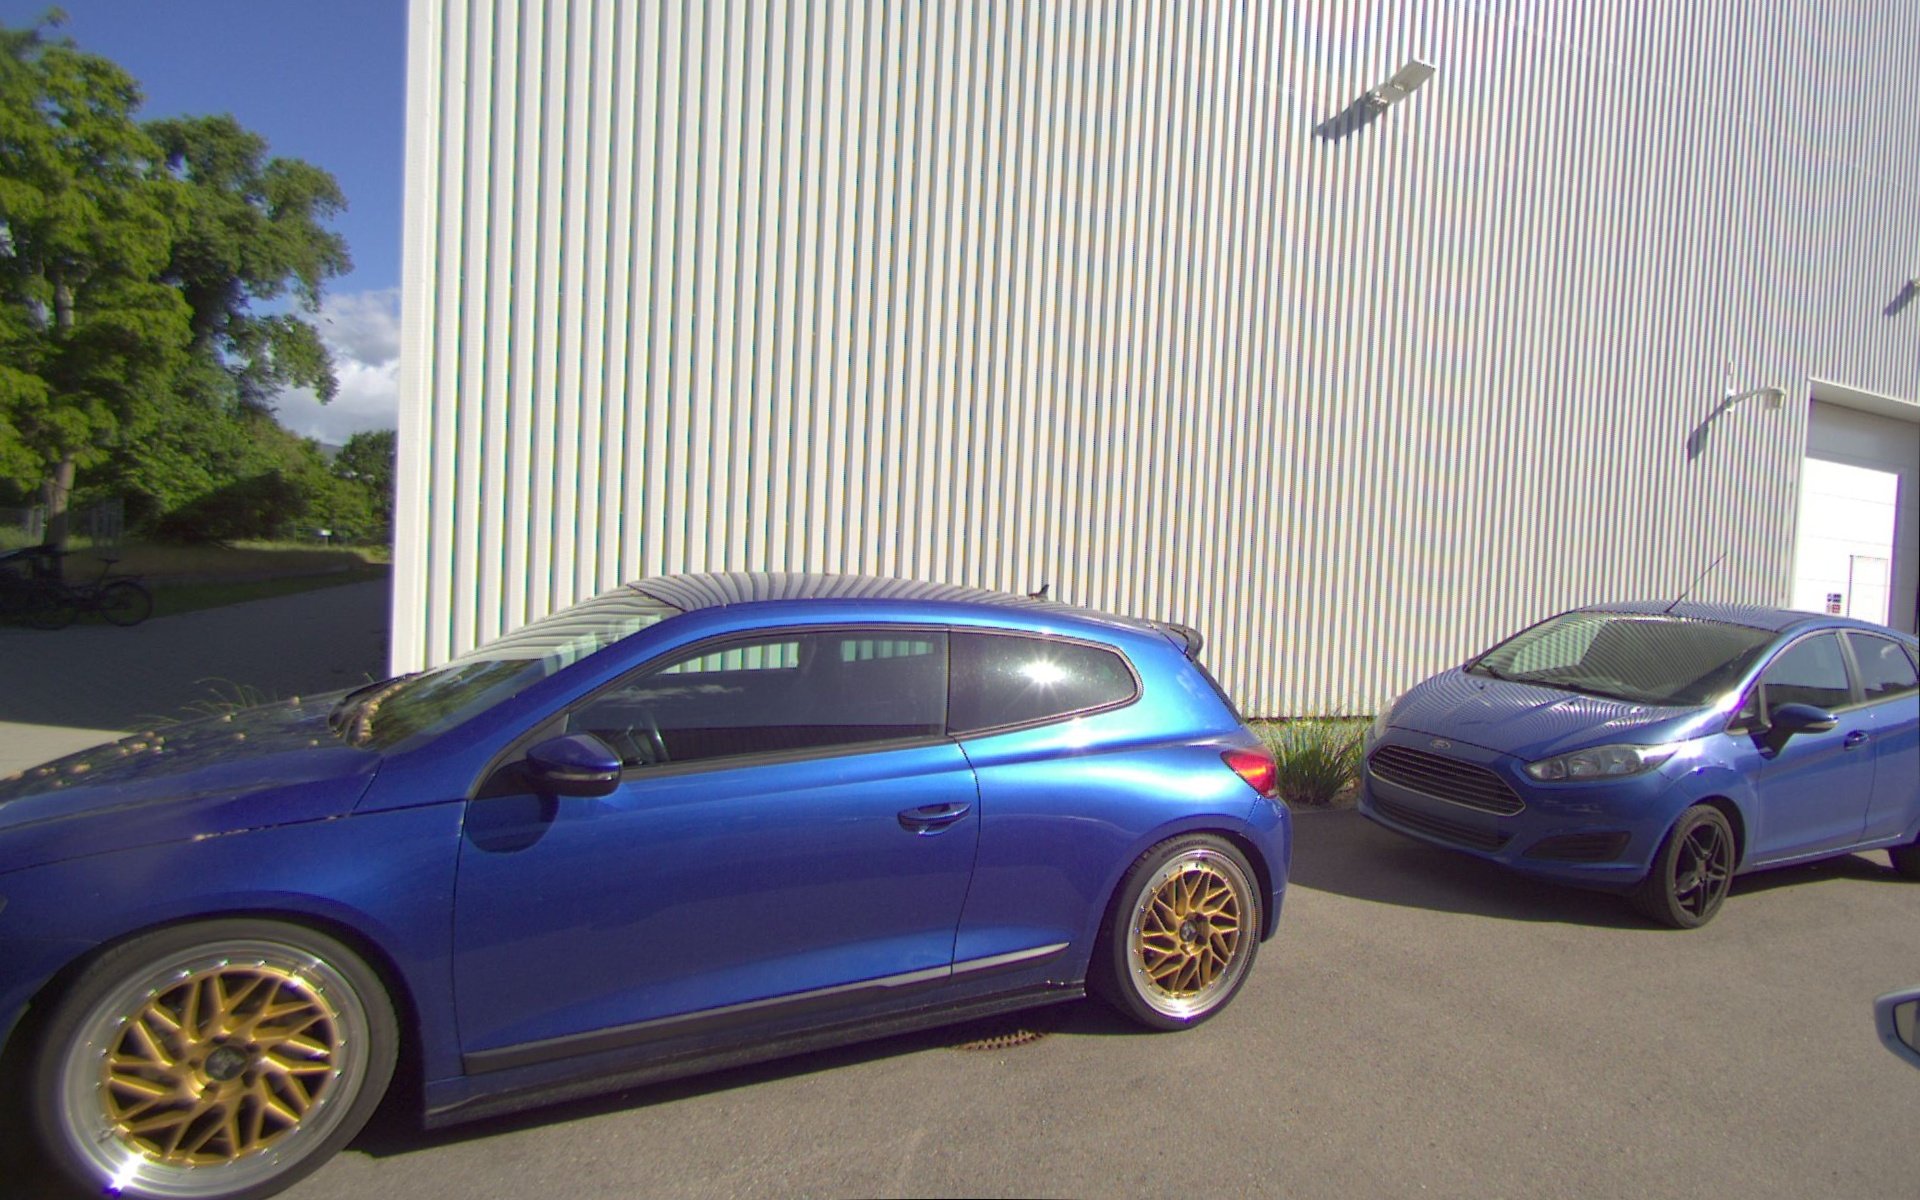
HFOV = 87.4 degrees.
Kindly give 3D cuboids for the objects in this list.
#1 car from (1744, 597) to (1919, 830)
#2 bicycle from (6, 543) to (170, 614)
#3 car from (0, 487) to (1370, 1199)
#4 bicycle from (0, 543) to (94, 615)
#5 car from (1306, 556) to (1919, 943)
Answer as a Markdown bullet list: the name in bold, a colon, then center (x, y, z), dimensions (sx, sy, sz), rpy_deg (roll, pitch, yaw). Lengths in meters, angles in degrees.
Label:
- **car**: center (8.431, 0.880, 7.897), dimensions (4.236, 1.520, 1.749), rpy_deg (2, 3, -25)
- **bicycle**: center (-13.211, -0.316, 15.280), dimensions (1.814, 0.973, 0.478), rpy_deg (2, 3, -31)
- **car**: center (-0.815, 0.488, 3.339), dimensions (4.000, 1.379, 1.768), rpy_deg (2, 2, -26)
- **bicycle**: center (-13.660, -0.312, 14.417), dimensions (1.793, 0.973, 0.478), rpy_deg (2, 3, -31)
- **car**: center (4.124, 0.657, 5.711), dimensions (4.041, 1.520, 1.625), rpy_deg (2, 4, -26)
